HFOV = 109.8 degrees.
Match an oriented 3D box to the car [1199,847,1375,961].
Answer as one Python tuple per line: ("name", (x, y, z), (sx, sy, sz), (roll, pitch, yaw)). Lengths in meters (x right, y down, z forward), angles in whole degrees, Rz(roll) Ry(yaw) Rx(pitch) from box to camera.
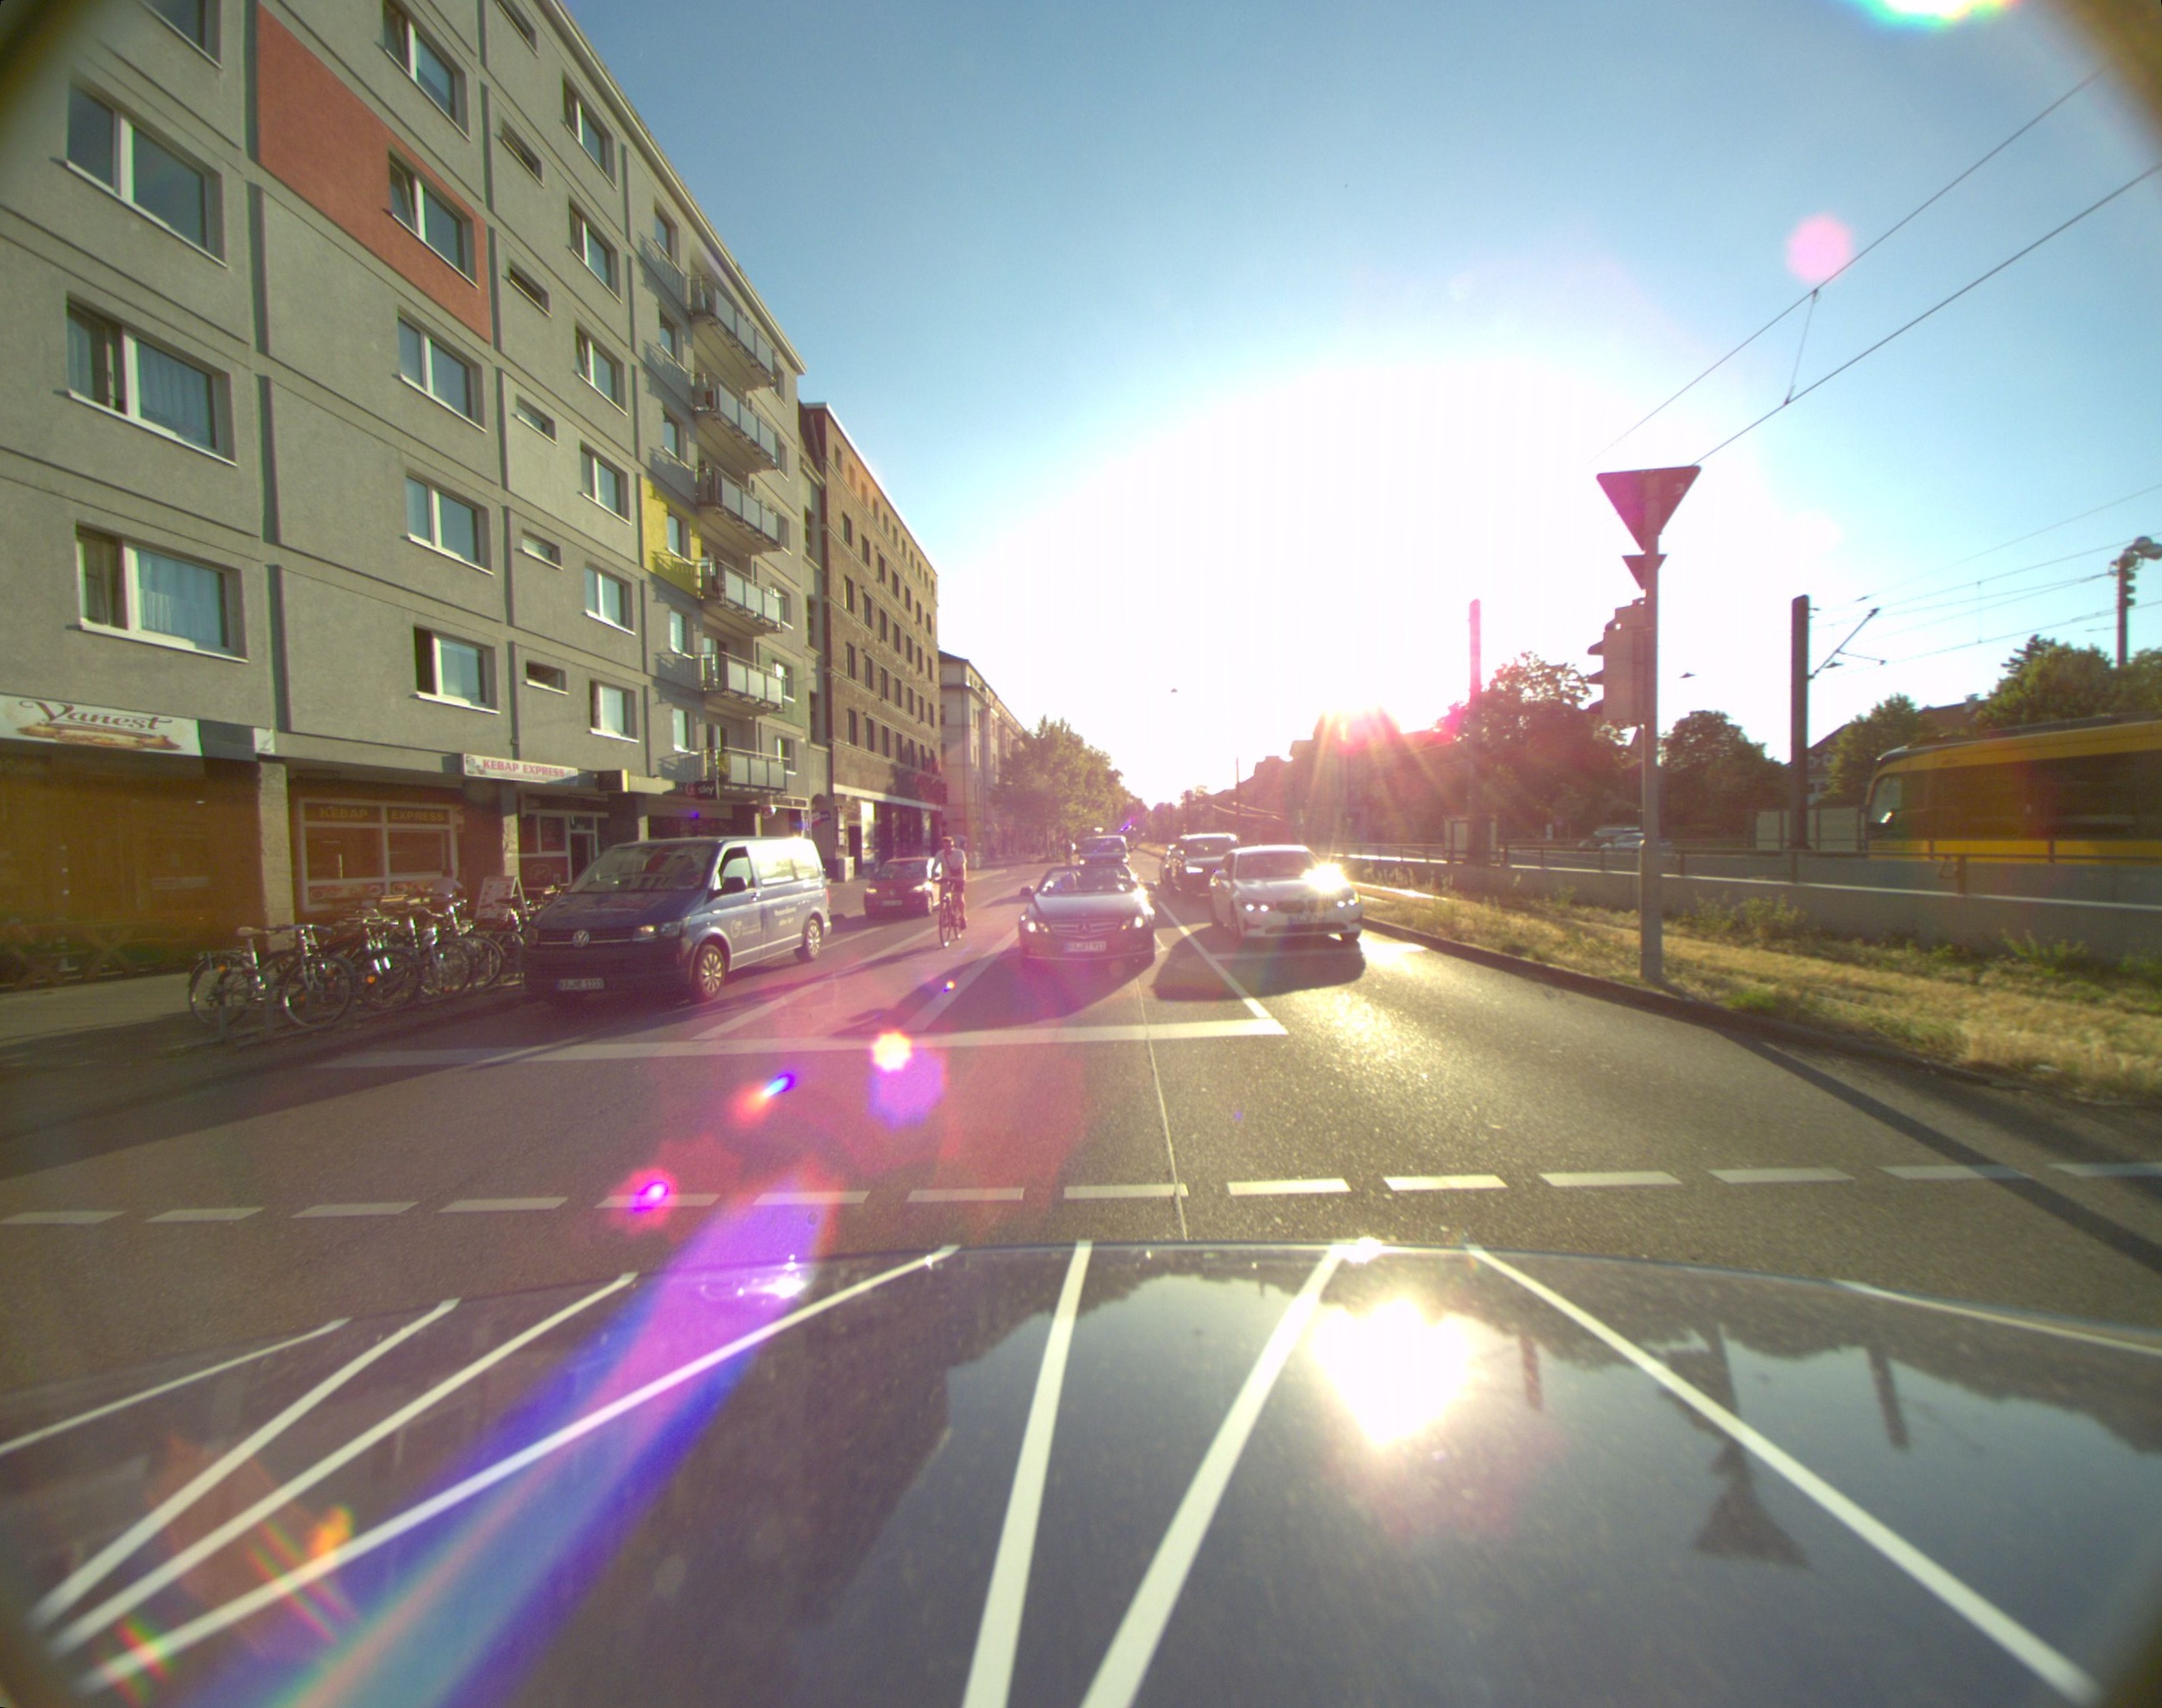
("car", (3.178, 0.675, 12.714), (1.842, 1.393, 4.584), (-4, 1, 3))

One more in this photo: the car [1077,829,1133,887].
("car", (0.947, 0.096, 29.228), (1.919, 1.979, 4.946), (-2, 1, 2))

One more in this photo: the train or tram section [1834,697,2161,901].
("train or tram section", (19.987, -0.966, 12.382), (2.779, 3.516, 13.250), (-2, 1, 2))

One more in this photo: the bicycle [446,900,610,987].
("bicycle", (-7.730, 1.244, 10.669), (1.872, 1.119, 0.568), (1, 2, -1))

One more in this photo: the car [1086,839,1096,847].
("car", (1.922, -2.057, 145.655), (1.774, 1.474, 4.309), (-1, 1, 3))

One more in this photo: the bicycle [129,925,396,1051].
("bicycle", (-7.823, 1.270, 7.313), (1.872, 1.055, 0.607), (-1, 2, 1))

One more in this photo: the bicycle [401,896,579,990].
("bicycle", (-7.716, 1.154, 9.969), (1.872, 1.119, 0.568), (1, 2, -1))

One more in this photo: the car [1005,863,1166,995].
("car", (0.126, 0.874, 10.666), (1.775, 1.300, 4.240), (-2, 1, 2))

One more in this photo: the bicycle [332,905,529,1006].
("bicycle", (-7.838, 1.213, 9.204), (1.872, 1.119, 0.568), (1, 2, -1))

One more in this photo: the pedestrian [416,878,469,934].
("pedestrian", (-13.389, 1.085, 15.954), (0.647, 1.093, 0.544), (-2, 2, -19))

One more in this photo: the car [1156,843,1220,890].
("car", (3.707, 0.377, 26.931), (1.815, 1.393, 3.919), (-4, 1, 3))

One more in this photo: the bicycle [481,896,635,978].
("bicycle", (-7.719, 1.213, 11.250), (1.872, 1.119, 0.568), (1, 2, -1))

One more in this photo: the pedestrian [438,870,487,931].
("pedestrian", (-13.629, 0.995, 16.742), (0.858, 1.266, 0.648), (0, 2, 41))

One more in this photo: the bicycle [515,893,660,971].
("bicycle", (-7.654, 1.197, 11.826), (1.872, 1.119, 0.568), (1, 2, -1))

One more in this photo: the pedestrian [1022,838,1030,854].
("pedestrian", (-6.081, -0.903, 83.917), (0.728, 1.666, 0.924), (-2, 2, 2))

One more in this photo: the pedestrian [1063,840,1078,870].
("pedestrian", (-0.572, 0.062, 42.583), (0.678, 1.639, 0.901), (-3, 2, 3))

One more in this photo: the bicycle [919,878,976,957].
("bicycle", (-2.278, 1.049, 13.140), (0.530, 1.152, 1.849), (-2, 1, 3))

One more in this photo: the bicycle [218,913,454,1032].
("bicycle", (-7.831, 1.232, 8.037), (1.872, 1.119, 0.607), (1, 2, -1))

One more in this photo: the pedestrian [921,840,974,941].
("pedestrian", (-2.276, 0.599, 13.037), (0.640, 1.639, 0.843), (-3, 2, 3))

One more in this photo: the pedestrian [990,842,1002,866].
("pedestrian", (-5.691, -0.013, 51.094), (0.603, 1.587, 0.884), (-2, 2, 2))

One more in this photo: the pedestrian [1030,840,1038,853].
("pedestrian", (-5.166, -0.804, 83.641), (0.728, 1.431, 0.924), (-2, 2, 2))

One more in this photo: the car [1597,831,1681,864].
("car", (28.247, -0.360, 38.596), (1.714, 1.532, 3.673), (-1, 1, 4))

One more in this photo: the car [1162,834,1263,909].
("car", (3.438, 0.369, 20.748), (1.955, 1.702, 4.850), (-4, 1, 2))

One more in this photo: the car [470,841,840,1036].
("car", (-5.078, 0.824, 10.092), (1.941, 1.922, 4.832), (-1, 1, 3))

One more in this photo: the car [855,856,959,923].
("car", (-4.514, 0.864, 20.205), (1.687, 1.472, 3.539), (-3, 1, 3))

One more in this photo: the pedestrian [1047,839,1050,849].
("pedestrian", (-4.712, -1.466, 110.605), (0.310, 1.431, 0.357), (-2, 2, 10))

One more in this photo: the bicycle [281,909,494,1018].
("bicycle", (-7.828, 1.223, 8.625), (1.872, 1.119, 0.568), (1, 2, -1))

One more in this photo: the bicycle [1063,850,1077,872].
("bicycle", (-0.604, 0.385, 42.604), (0.530, 1.152, 1.849), (-2, 1, 4))
